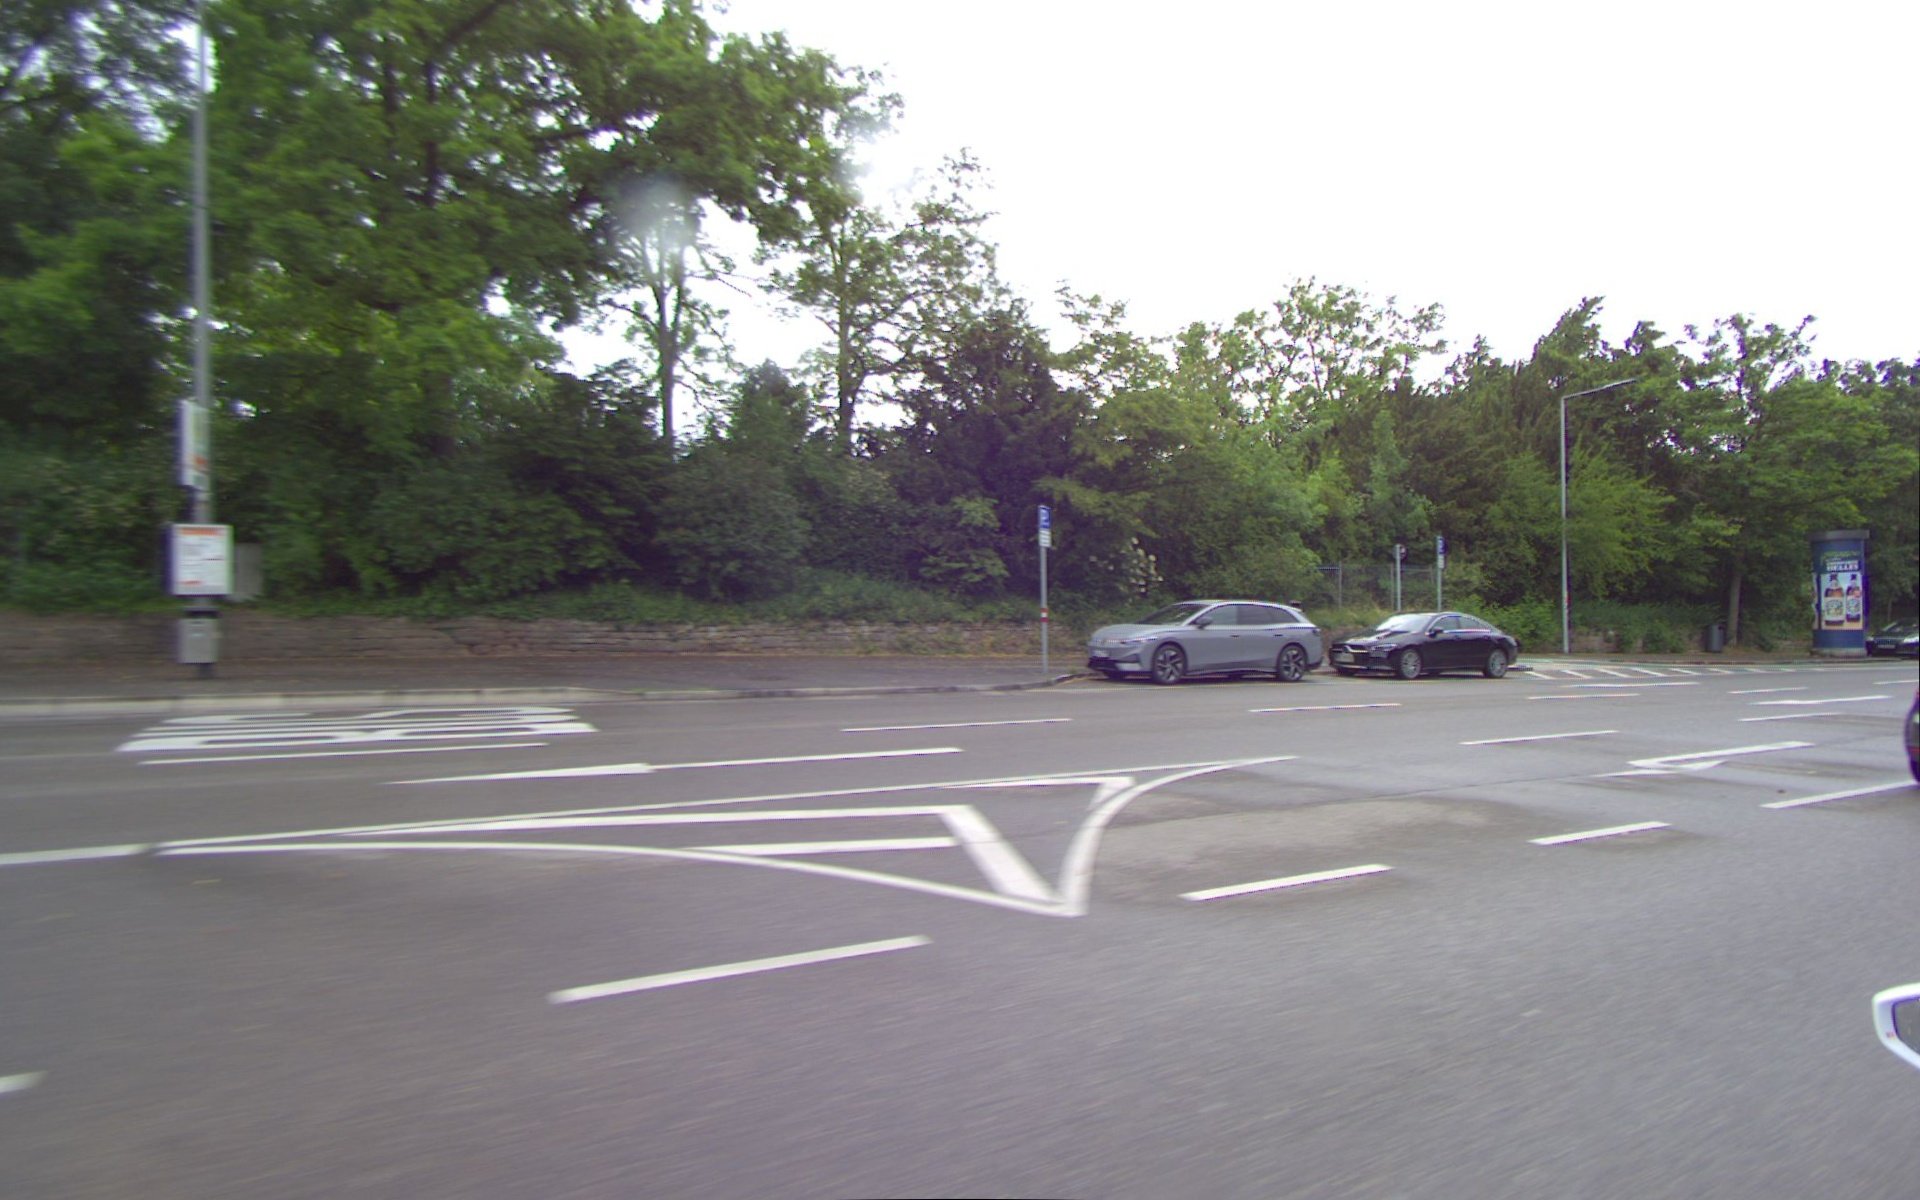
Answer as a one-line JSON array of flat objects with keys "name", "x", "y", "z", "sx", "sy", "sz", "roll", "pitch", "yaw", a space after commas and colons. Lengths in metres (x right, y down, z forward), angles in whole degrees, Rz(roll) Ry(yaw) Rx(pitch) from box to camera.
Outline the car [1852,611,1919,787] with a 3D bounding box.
[{"name": "car", "x": 10.173, "y": 0.931, "z": 8.881, "sx": 4.238, "sy": 1.460, "sz": 1.866, "roll": 2, "pitch": 1, "yaw": -25}]

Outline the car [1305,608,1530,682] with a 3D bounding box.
[{"name": "car", "x": 9.986, "y": 0.979, "z": 21.890, "sx": 4.721, "sy": 1.433, "sz": 1.899, "roll": 2, "pitch": 0, "yaw": -27}]

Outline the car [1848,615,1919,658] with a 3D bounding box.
[{"name": "car", "x": 34.485, "y": 1.306, "z": 36.383, "sx": 4.522, "sy": 1.464, "sz": 1.745, "roll": 1, "pitch": 0, "yaw": -23}]

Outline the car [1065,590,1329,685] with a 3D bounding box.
[{"name": "car", "x": 4.595, "y": 0.718, "z": 19.307, "sx": 4.864, "sy": 1.610, "sz": 1.834, "roll": 2, "pitch": 0, "yaw": -27}]
